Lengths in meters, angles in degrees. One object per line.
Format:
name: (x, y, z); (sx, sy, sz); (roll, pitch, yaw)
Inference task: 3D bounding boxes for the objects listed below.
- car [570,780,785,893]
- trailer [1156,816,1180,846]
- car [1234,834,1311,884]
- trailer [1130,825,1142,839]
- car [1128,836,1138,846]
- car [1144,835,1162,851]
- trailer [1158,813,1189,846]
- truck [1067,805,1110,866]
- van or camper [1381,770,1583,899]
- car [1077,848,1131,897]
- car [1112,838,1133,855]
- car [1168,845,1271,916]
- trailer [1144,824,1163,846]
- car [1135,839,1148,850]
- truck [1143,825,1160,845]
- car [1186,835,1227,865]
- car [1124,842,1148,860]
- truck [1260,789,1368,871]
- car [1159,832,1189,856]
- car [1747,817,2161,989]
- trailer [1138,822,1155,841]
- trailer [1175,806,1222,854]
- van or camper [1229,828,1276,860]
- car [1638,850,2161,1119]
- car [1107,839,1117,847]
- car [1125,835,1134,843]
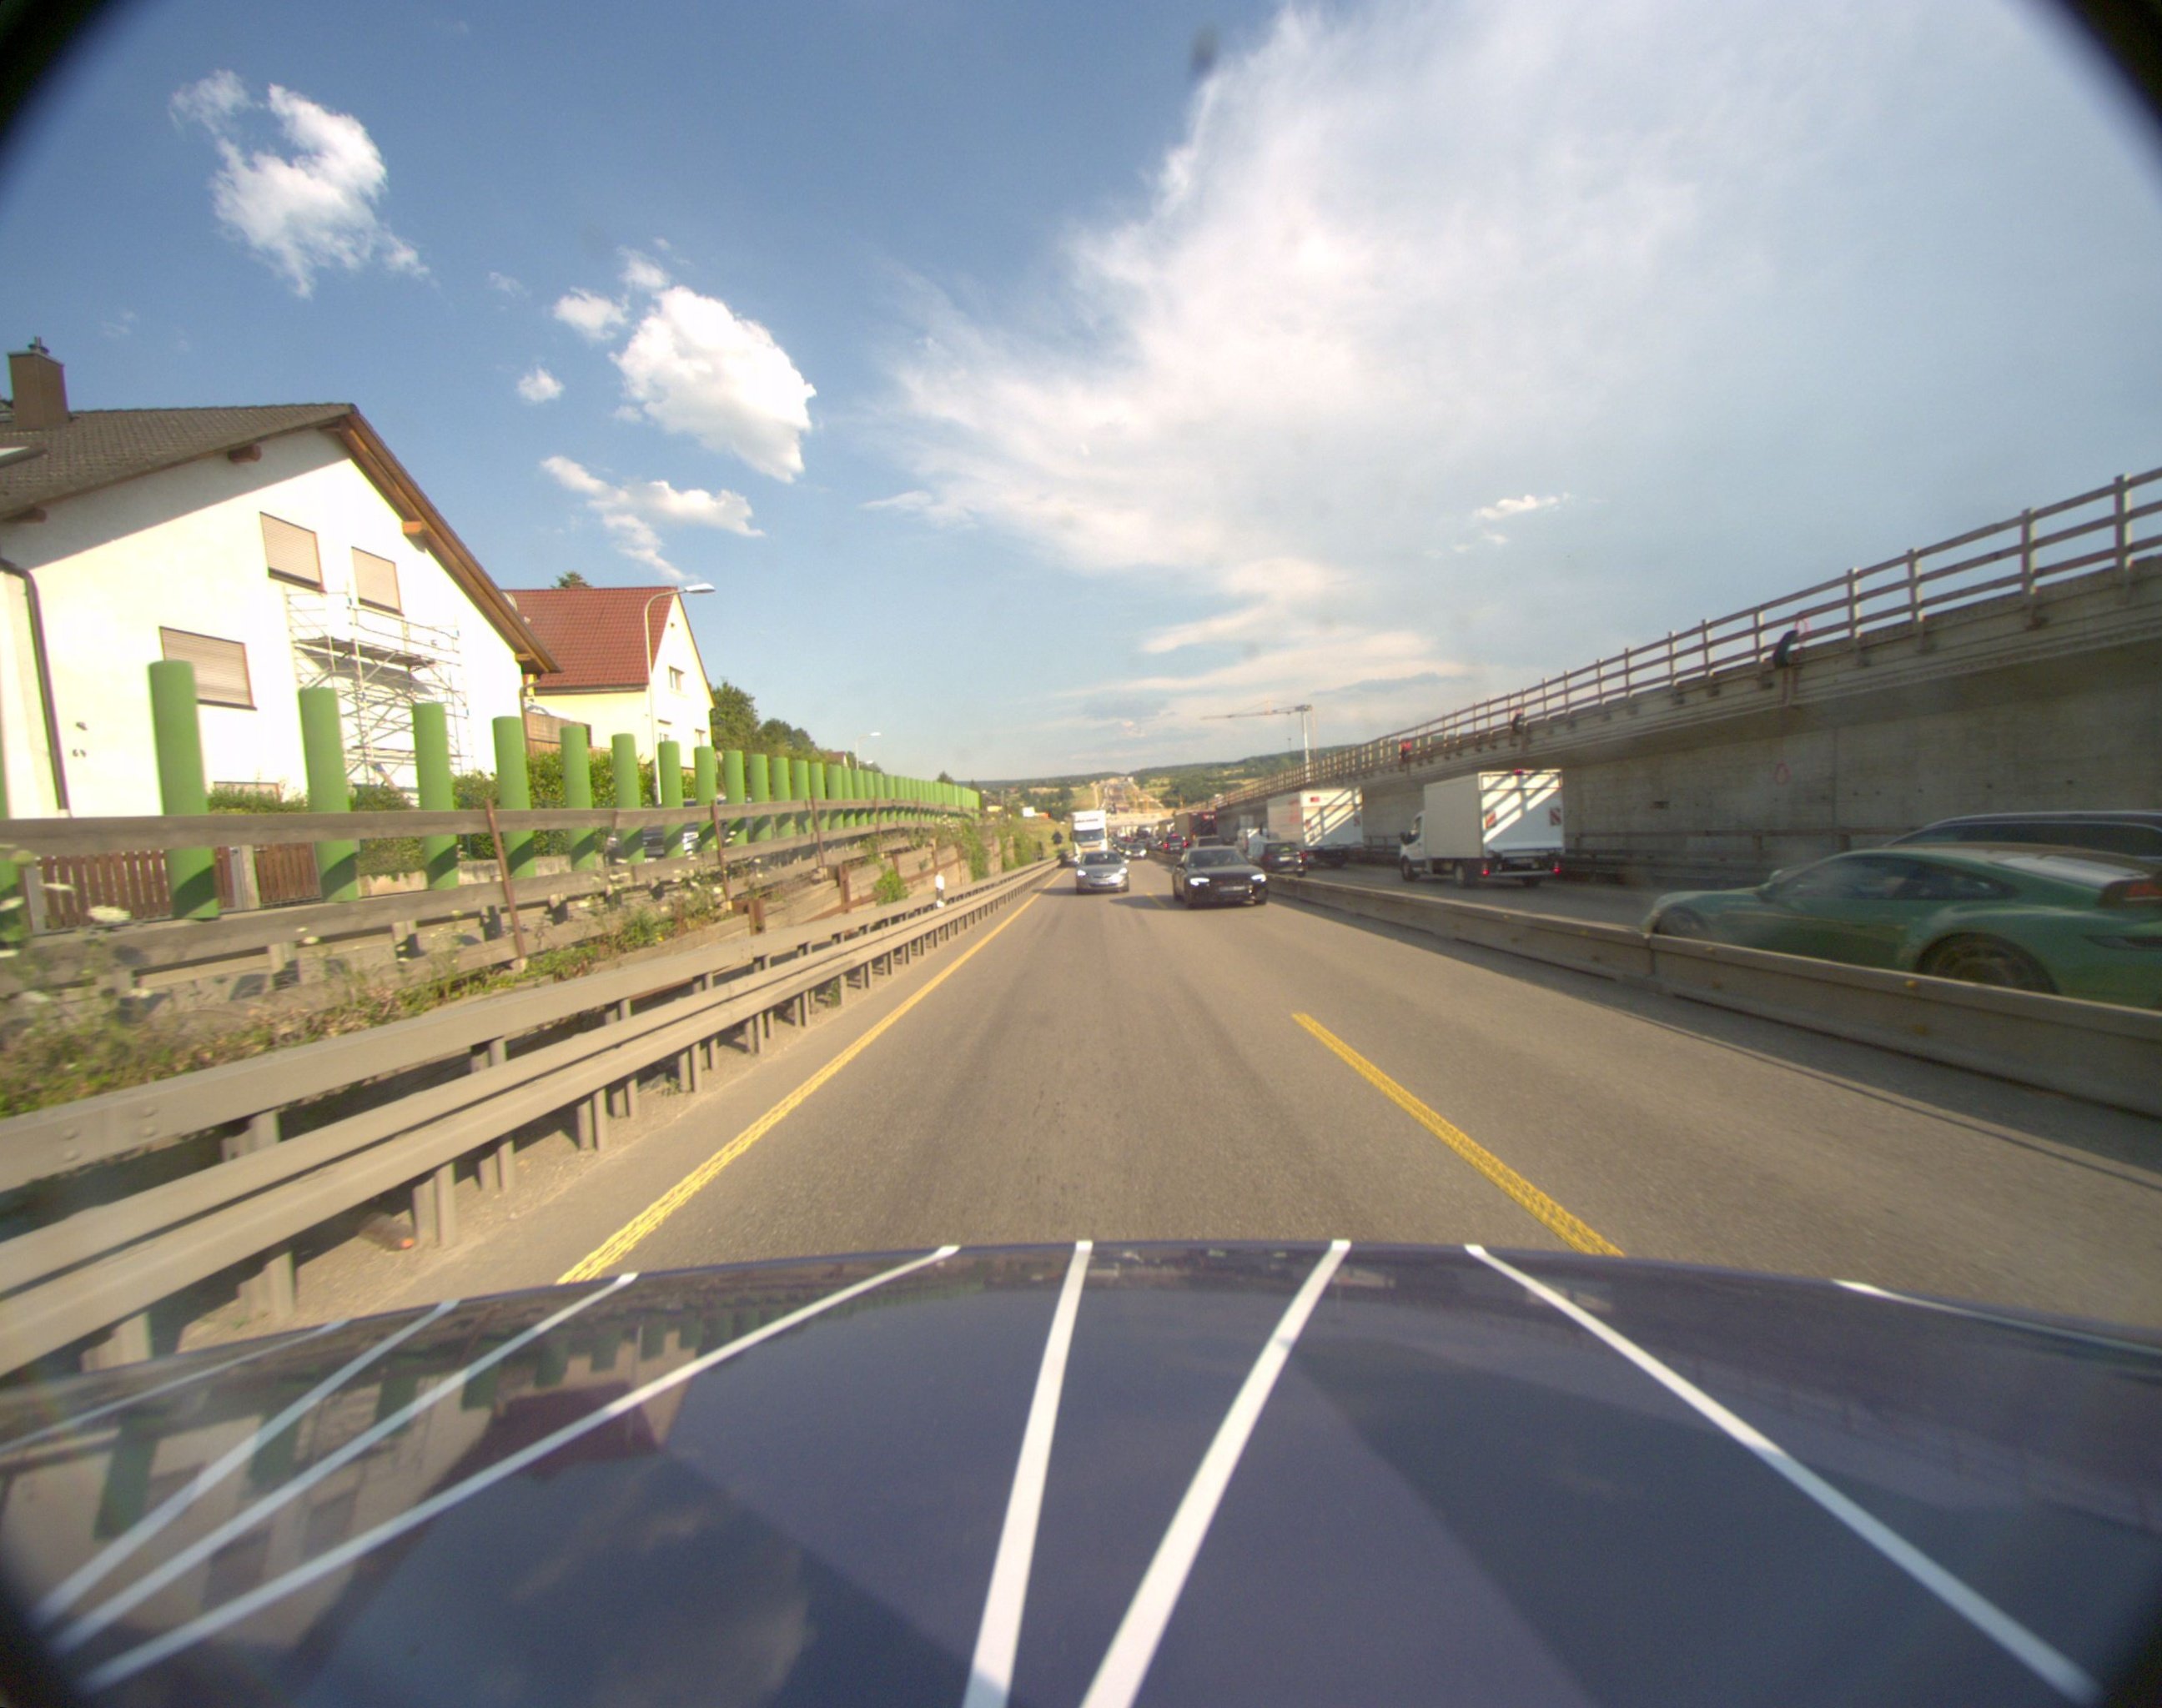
car: (-7.773, -0.327, 15.203); (1.887, 1.802, 4.246); (-4, 1, 0)
trailer: (12.987, -3.409, 113.581); (2.771, 4.118, 5.976); (-4, 1, 2)
car: (7.177, 0.114, 28.925); (1.746, 1.587, 4.556); (-4, 2, 1)
trailer: (16.334, -6.581, 225.012); (2.659, 3.829, 13.439); (-4, 2, 1)
car: (9.670, -2.416, 141.779); (1.645, 1.636, 4.687); (-4, 2, 1)
car: (9.037, -1.455, 95.730); (1.826, 1.762, 5.139); (-4, 2, 2)
trailer: (12.810, -3.285, 106.881); (2.771, 4.117, 14.024); (-4, 1, 2)
truck: (0.777, -1.509, 59.244); (2.741, 4.034, 12.668); (-4, 2, 2)
van or camper: (10.719, -0.558, 21.082); (2.325, 2.972, 6.221); (-2, 2, 0)
car: (0.790, 0.574, 26.415); (1.671, 1.425, 3.523); (-3, 2, 2)
car: (4.513, -0.889, 83.517); (1.998, 1.740, 3.999); (-3, 1, 0)
car: (3.345, 0.576, 19.188); (1.872, 1.411, 4.348); (-3, 2, 2)
trailer: (12.746, -3.428, 134.391); (2.563, 3.507, 10.679); (-4, 2, 2)
car: (9.591, -1.504, 121.087); (1.645, 1.451, 4.595); (-4, 2, 2)
truck: (12.969, -3.549, 140.703); (2.555, 3.390, 5.530); (-4, 2, 2)
car: (7.804, -0.301, 47.607); (1.836, 1.636, 4.687); (-4, 2, 1)
car: (4.662, -0.291, 64.610); (1.692, 1.294, 3.882); (-4, 2, 0)
truck: (10.728, -1.138, 35.989); (2.721, 3.405, 8.138); (-1, 2, 1)
car: (8.183, -0.924, 67.332); (1.990, 1.911, 5.290); (-5, 1, 1)
car: (10.549, 0.384, 8.754); (1.645, 1.522, 4.783); (-2, 1, 1)
trailer: (15.169, -5.310, 176.690); (2.778, 4.008, 15.759); (-4, 2, 2)
trailer: (11.740, -2.492, 77.458); (2.920, 4.216, 13.765); (-4, 2, 2)
van or camper: (11.279, -0.697, 50.311); (1.922, 1.911, 4.921); (-4, 1, 0)
car: (6.688, 0.697, 5.796); (1.785, 1.317, 4.239); (-2, 1, 1)
car: (6.744, -2.381, 164.795); (1.998, 1.696, 3.999); (-3, 1, 1)
car: (10.666, -3.341, 165.922); (1.729, 1.548, 4.296); (-4, 1, 1)
